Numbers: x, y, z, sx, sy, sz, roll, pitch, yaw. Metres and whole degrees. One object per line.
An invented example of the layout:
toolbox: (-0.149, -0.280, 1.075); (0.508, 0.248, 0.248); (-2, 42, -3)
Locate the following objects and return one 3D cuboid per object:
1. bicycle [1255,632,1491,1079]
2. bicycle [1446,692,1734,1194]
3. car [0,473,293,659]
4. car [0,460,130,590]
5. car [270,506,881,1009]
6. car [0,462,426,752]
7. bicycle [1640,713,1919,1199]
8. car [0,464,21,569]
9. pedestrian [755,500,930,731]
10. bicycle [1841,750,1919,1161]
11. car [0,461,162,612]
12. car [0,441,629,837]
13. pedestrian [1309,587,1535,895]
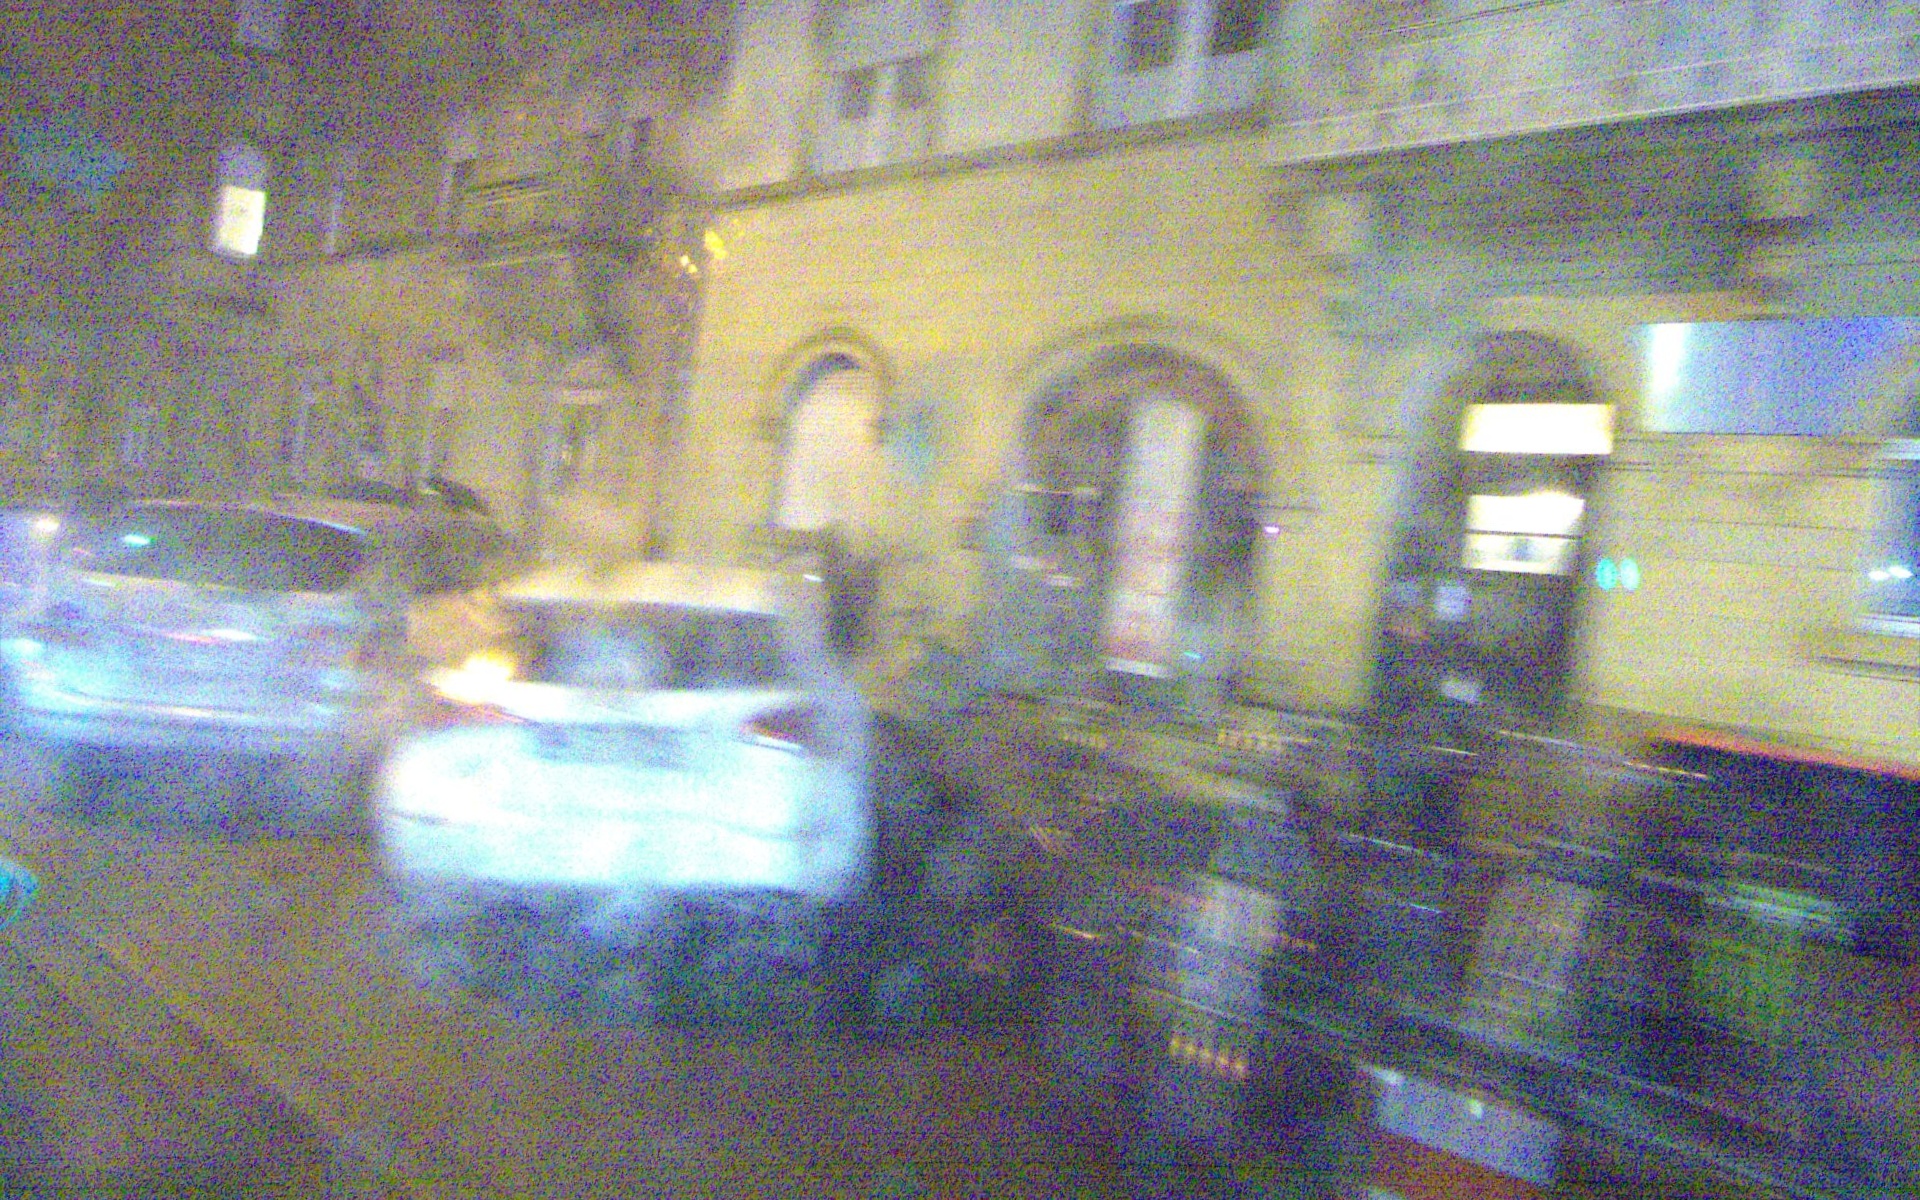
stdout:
bicycle: (1.798, 0.866, 4.189); (0.585, 1.377, 1.899); (7, 1, 28)
bicycle: (2.267, 1.054, 3.791); (0.585, 1.268, 1.899); (7, 1, 28)
car: (-8.810, -0.413, 10.077); (1.633, 1.494, 4.179); (7, 1, -5)
car: (-13.588, -1.113, 12.953); (1.736, 1.666, 4.185); (8, 1, 12)
car: (-1.426, 0.498, 5.424); (1.824, 1.476, 4.180); (7, 1, -5)
car: (-6.144, -0.083, 7.750); (1.699, 1.610, 4.182); (7, 1, 0)
bicycle: (2.904, 1.119, 3.473); (0.585, 1.268, 1.899); (7, 1, 28)
car: (-16.475, -1.466, 14.341); (1.736, 1.666, 4.185); (8, 1, 12)
pedestrian: (-1.061, 0.146, 9.150); (0.983, 1.905, 0.958); (8, 1, 33)
bicycle: (3.368, 1.207, 2.985); (0.585, 1.268, 1.899); (7, 1, 28)
car: (-11.543, -0.818, 11.617); (1.634, 1.666, 4.177); (7, 1, -8)
car: (-3.740, 0.136, 6.650); (1.849, 1.597, 4.180); (7, 1, -5)
pedestrian: (2.860, 0.812, 6.224); (0.983, 1.639, 0.781); (8, 3, 33)
